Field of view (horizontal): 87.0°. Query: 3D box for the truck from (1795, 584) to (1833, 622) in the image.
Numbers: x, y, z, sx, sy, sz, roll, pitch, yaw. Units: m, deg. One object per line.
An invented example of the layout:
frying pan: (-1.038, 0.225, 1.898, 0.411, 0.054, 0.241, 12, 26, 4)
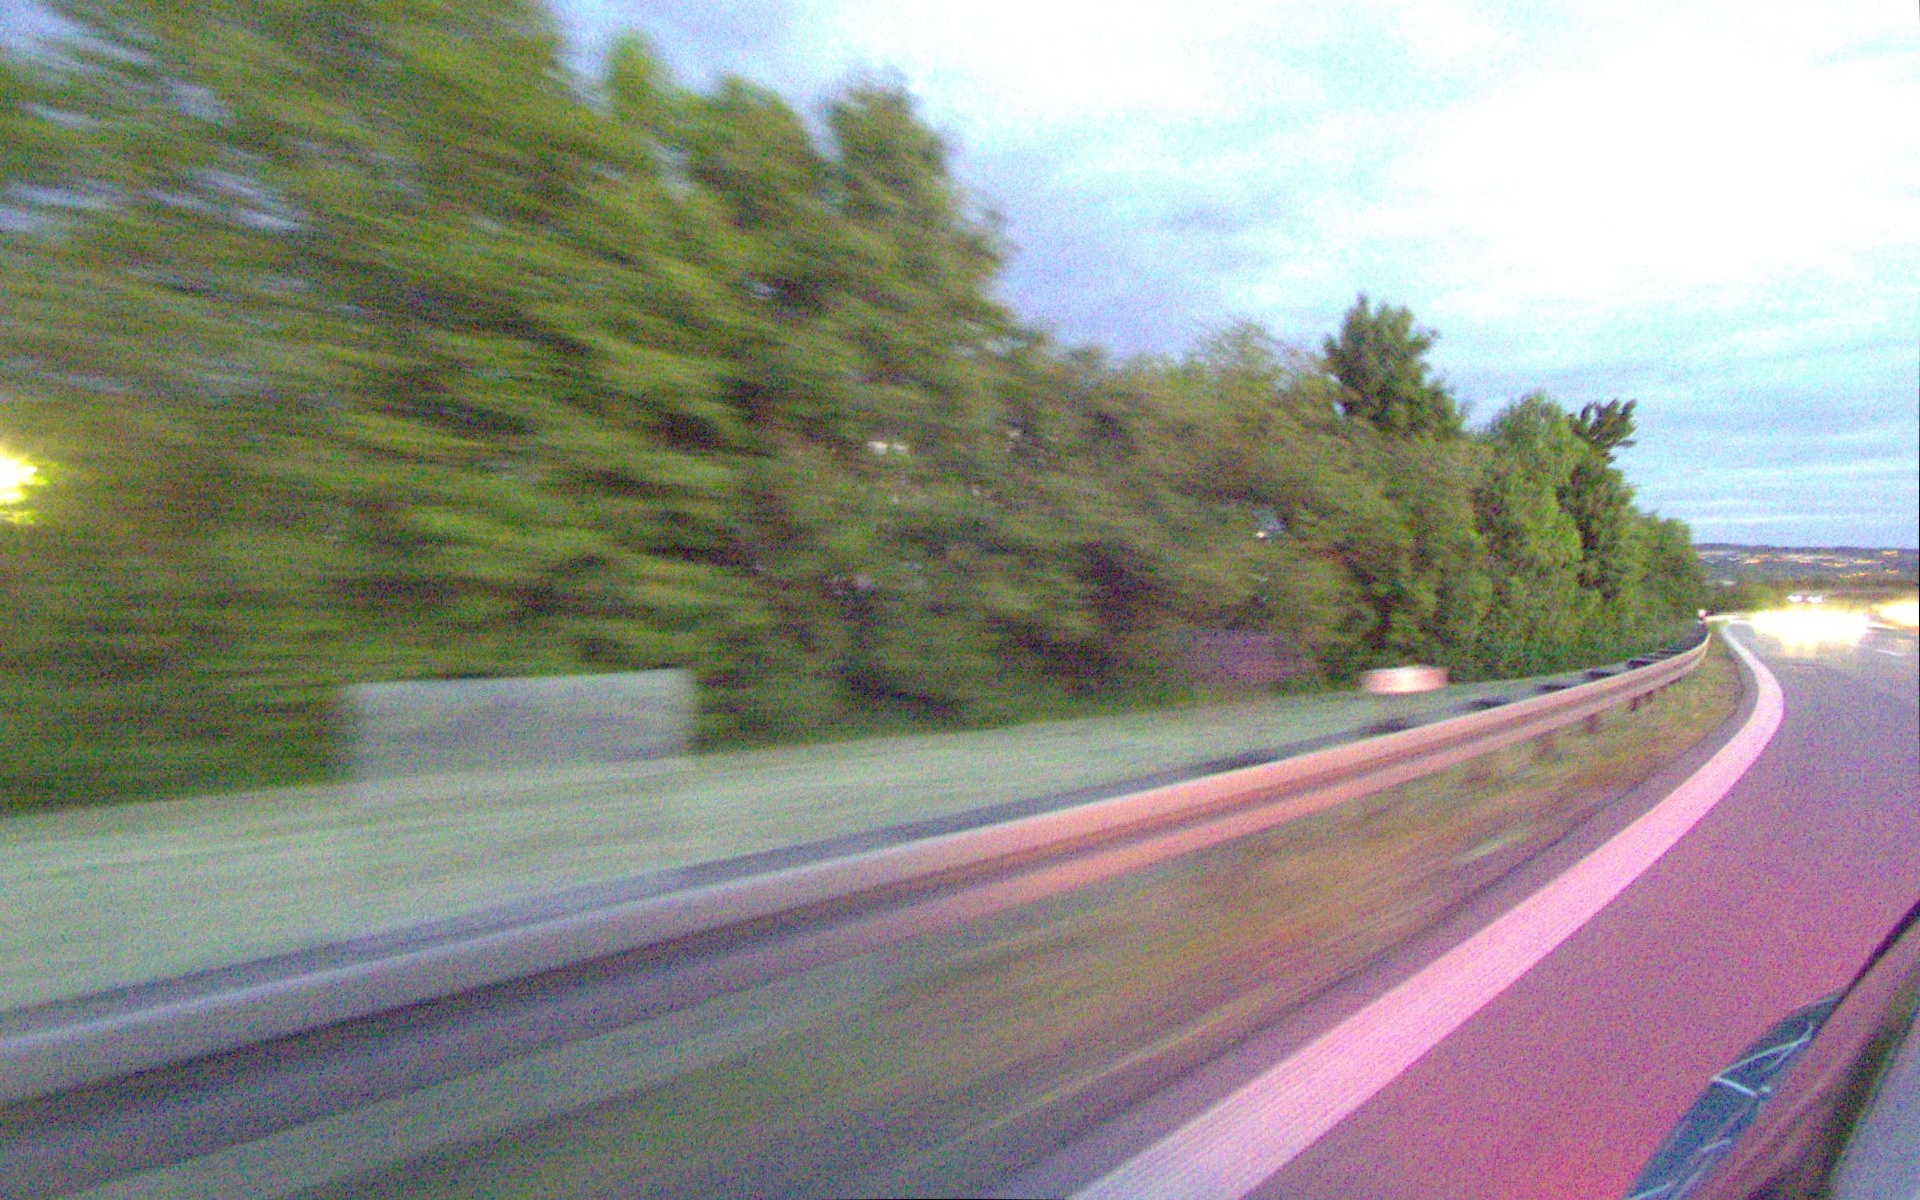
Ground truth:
truck: (106.069, 0.371, 125.728, 3.342, 4.371, 11.160, 4, 2, 40)

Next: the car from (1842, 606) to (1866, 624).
car: (109.650, 1.852, 124.136, 1.992, 2.038, 3.942, 4, 2, 40)
